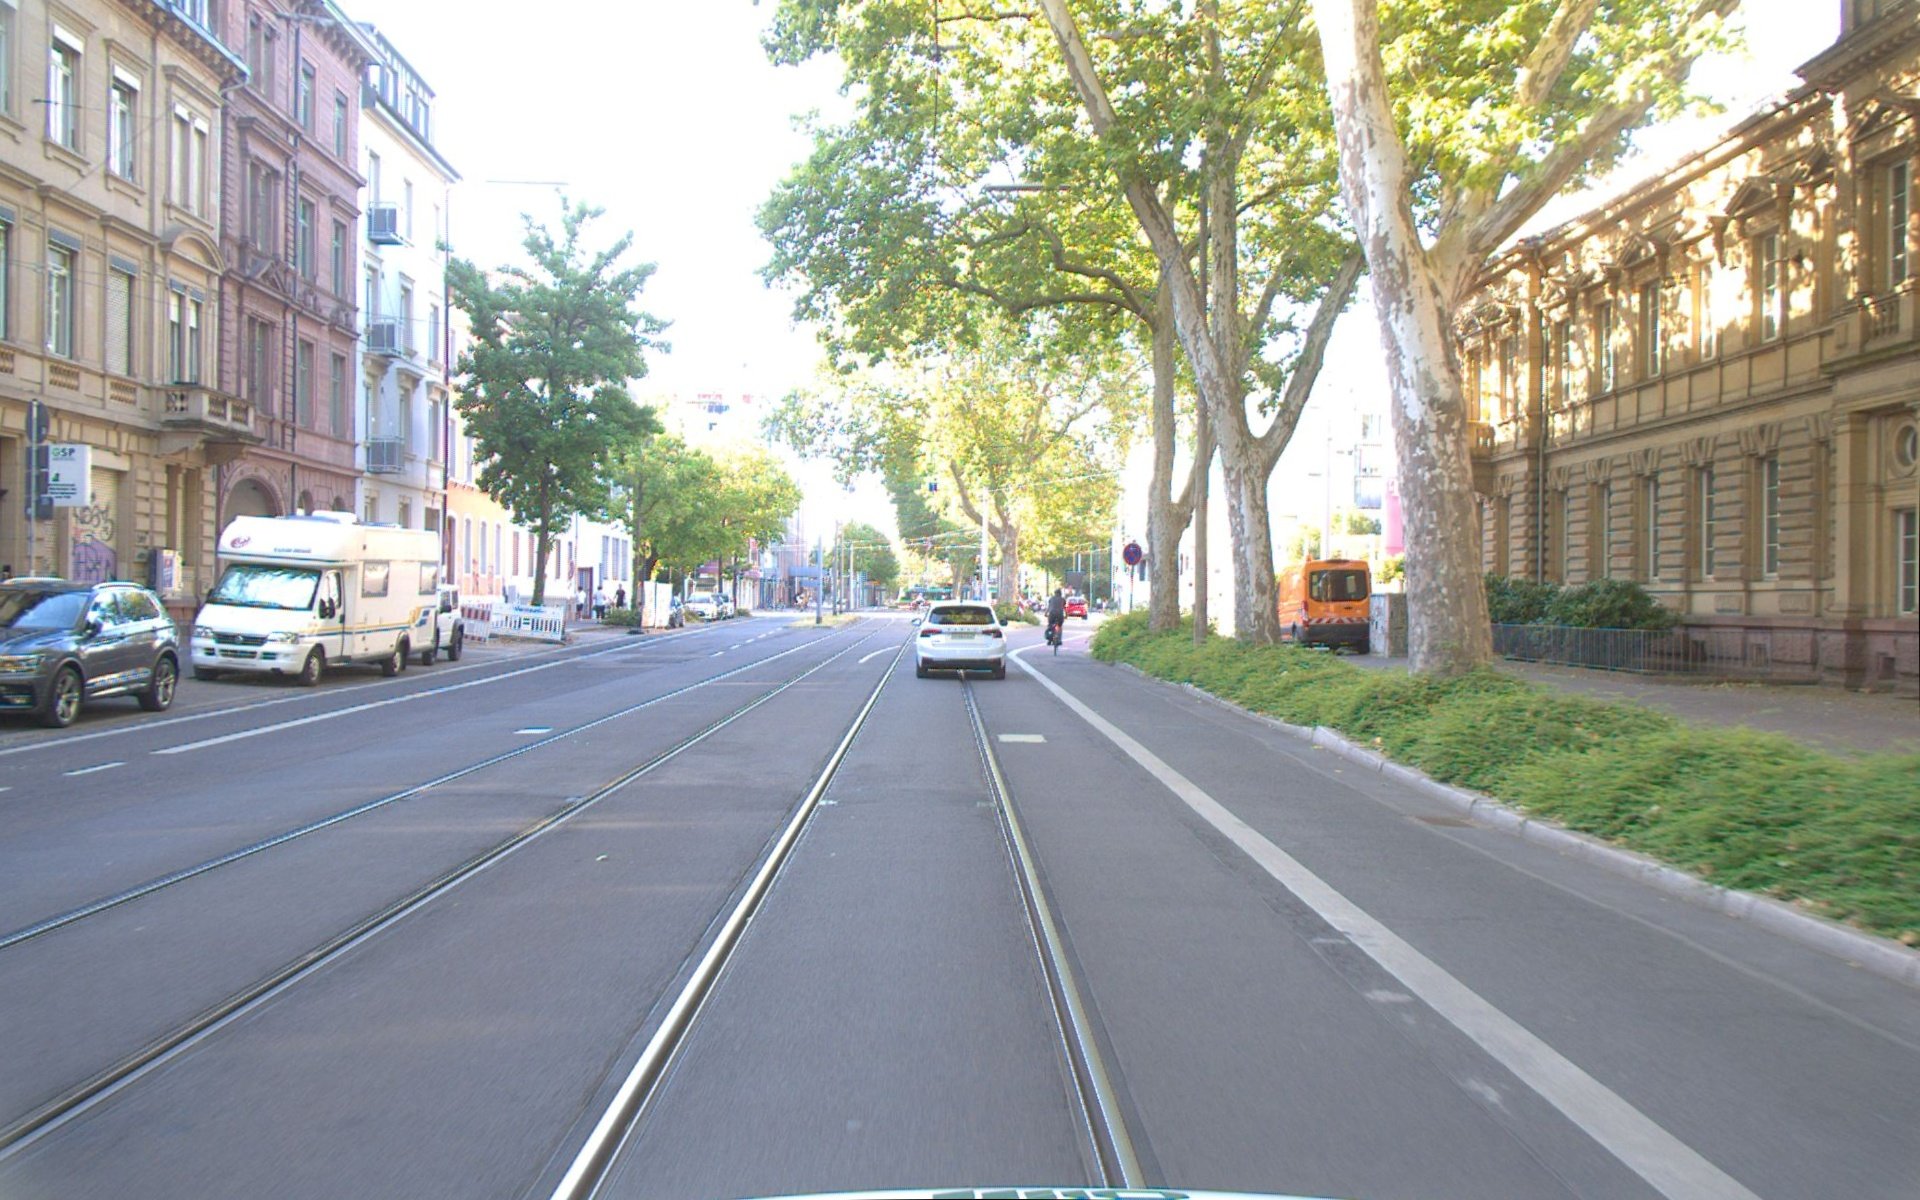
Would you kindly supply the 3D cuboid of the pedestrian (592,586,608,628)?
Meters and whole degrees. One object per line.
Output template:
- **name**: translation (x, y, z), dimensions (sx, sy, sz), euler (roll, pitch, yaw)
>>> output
- **pedestrian**: translation (-15.919, 0.314, 73.162), dimensions (0.589, 1.803, 0.700), euler (2, 0, -7)

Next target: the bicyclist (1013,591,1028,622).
- **bicyclist**: translation (3.081, 0.327, 84.347), dimensions (0.721, 1.617, 0.587), euler (0, 0, 10)

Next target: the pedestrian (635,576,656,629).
- **pedestrian**: translation (-12.051, 0.093, 63.379), dimensions (0.588, 2.037, 0.750), euler (1, 0, 3)

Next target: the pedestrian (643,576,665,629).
- **pedestrian**: translation (-12.105, 0.093, 65.403), dimensions (0.633, 2.037, 0.750), euler (1, 0, 3)

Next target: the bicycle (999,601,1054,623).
- **bicycle**: translation (3.370, 0.627, 84.305), dimensions (2.711, 1.017, 0.593), euler (2, 0, 13)

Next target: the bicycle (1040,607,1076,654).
- **bicycle**: translation (2.614, 0.796, 44.329), dimensions (0.666, 1.175, 2.963), euler (2, 0, -2)

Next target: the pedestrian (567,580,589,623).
- **pedestrian**: translation (-18.280, 0.067, 79.087), dimensions (0.735, 2.037, 0.646), euler (1, 0, 37)

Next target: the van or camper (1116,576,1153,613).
- **van or camper**: translation (11.780, -0.337, 111.637), dimensions (1.953, 2.384, 3.999), euler (2, 0, -1)

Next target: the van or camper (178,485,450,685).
- **van or camper**: translation (-11.597, -0.255, 30.448), dimensions (2.171, 3.195, 7.113), euler (1, 0, 0)

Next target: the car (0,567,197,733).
- **car**: translation (-11.332, 0.522, 20.398), dimensions (1.925, 1.812, 4.468), euler (1, 0, -3)

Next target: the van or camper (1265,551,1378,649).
- **van or camper**: translation (9.995, 0.009, 46.097), dimensions (1.985, 2.507, 5.108), euler (2, 0, 0)

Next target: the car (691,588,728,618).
- **car**: translation (-15.036, 0.172, 99.447), dimensions (1.758, 1.756, 3.782), euler (1, 0, -3)

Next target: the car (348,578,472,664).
- **car**: translation (-12.011, 0.437, 36.349), dimensions (1.608, 1.756, 3.782), euler (1, 0, -3)

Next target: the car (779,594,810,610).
- **car**: translation (-21.404, 0.265, 214.352), dimensions (3.713, 1.850, 1.804), euler (2, 0, 4)

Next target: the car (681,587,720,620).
- **car**: translation (-14.720, 0.178, 93.874), dimensions (1.758, 1.756, 3.782), euler (1, 0, -3)

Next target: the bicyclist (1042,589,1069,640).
- **bicyclist**: translation (2.580, 0.386, 44.754), dimensions (0.665, 1.362, 0.525), euler (2, 0, -2)

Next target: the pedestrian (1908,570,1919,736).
- **pedestrian**: translation (9.962, 0.539, 16.539), dimensions (0.634, 1.661, 0.872), euler (2, 0, 17)

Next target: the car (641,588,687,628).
- **car**: translation (-13.773, 0.369, 77.013), dimensions (1.608, 1.756, 3.782), euler (1, 0, -3)

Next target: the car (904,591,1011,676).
- **car**: translation (-0.106, 0.606, 32.041), dimensions (1.806, 1.506, 3.835), euler (2, 0, -4)
